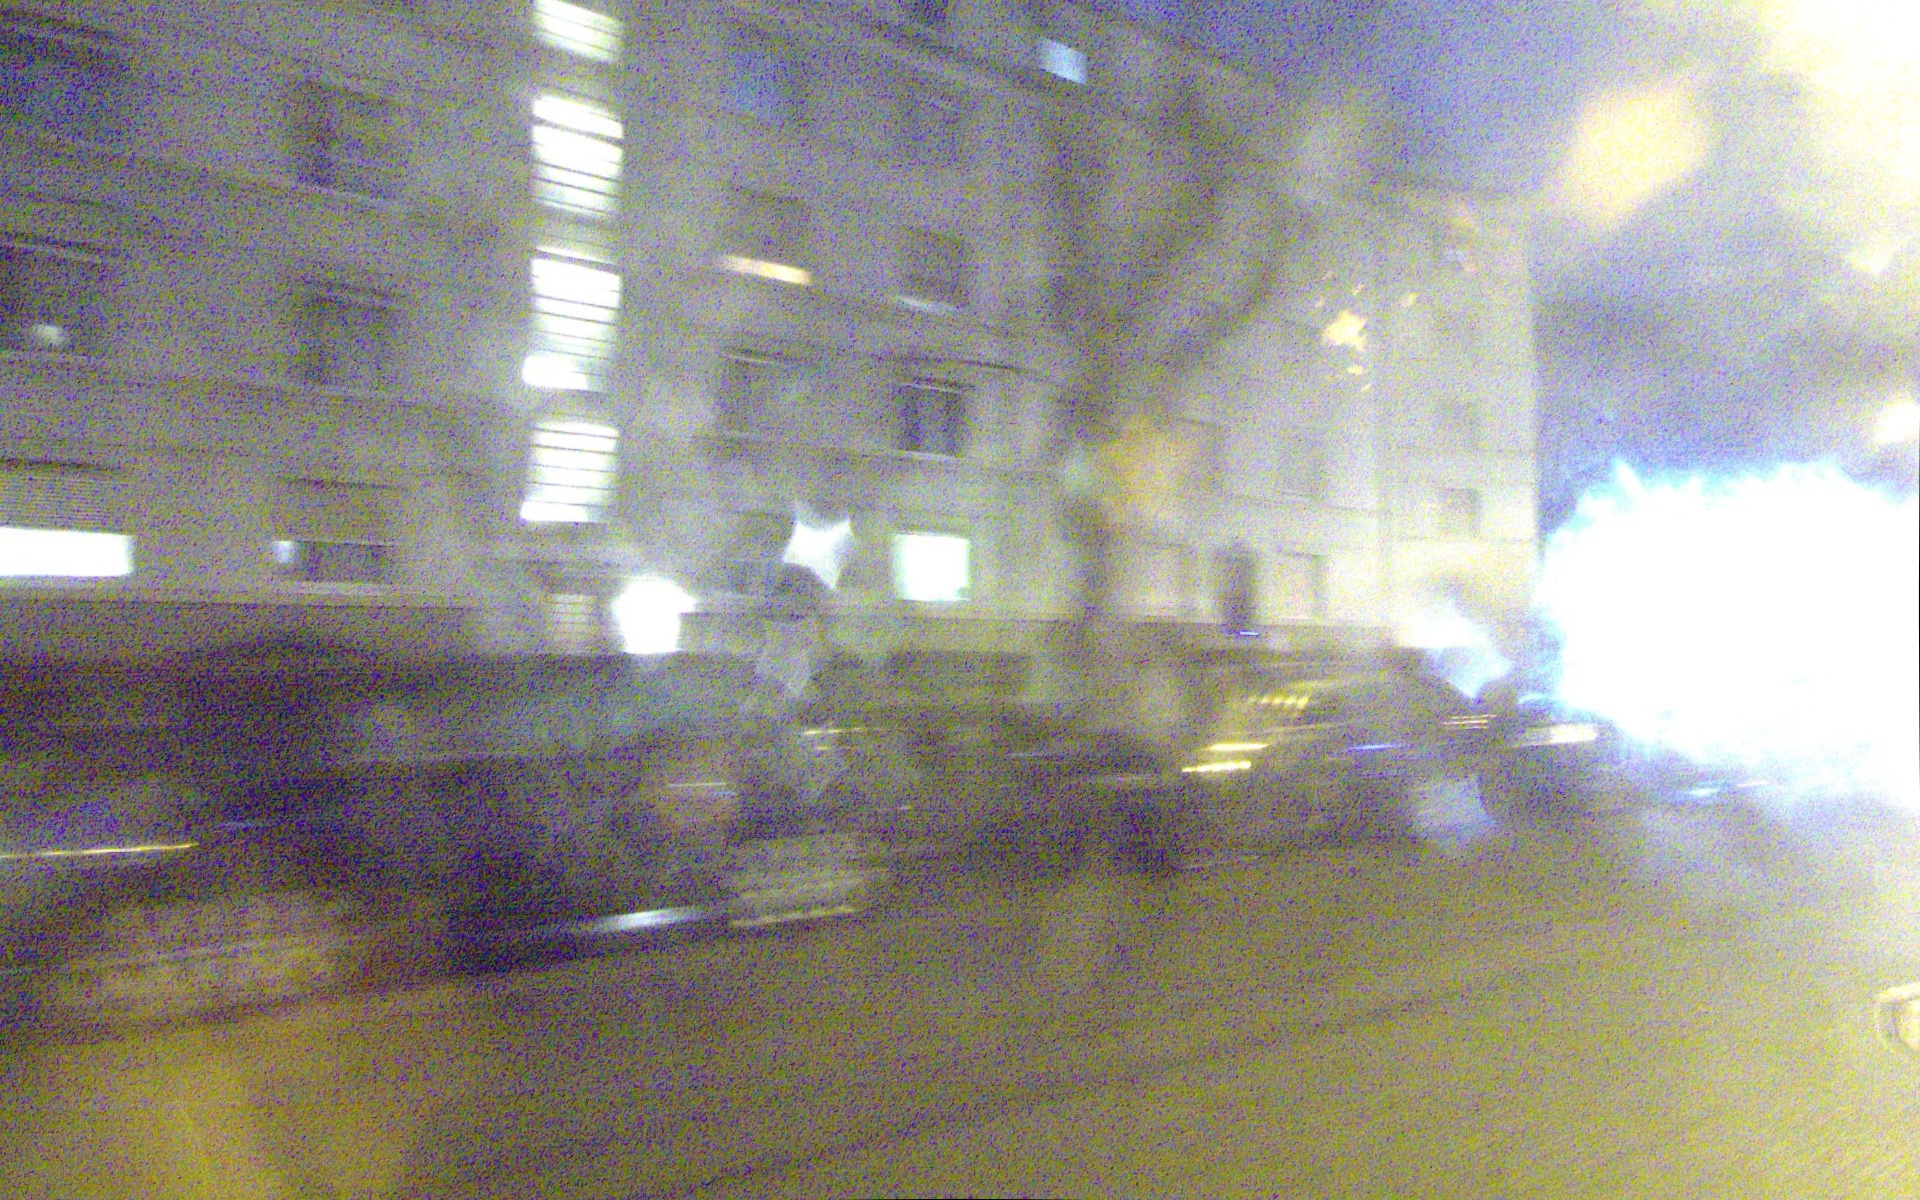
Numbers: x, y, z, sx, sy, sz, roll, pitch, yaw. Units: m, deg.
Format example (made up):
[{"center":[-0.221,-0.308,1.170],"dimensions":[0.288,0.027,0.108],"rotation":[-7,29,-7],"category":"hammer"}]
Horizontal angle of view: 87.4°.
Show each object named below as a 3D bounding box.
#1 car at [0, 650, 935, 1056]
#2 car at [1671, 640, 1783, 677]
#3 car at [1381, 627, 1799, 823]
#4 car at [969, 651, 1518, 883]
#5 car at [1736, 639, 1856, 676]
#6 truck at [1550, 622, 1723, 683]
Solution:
[{"center":[-2.275,0.997,5.072],"dimensions":[4.019,1.390,1.592],"rotation":[1,-6,-30],"category":"car"},{"center":[33.267,2.520,43.595],"dimensions":[3.849,1.540,1.716],"rotation":[0,-2,-11],"category":"car"},{"center":[6.305,1.131,9.944],"dimensions":[4.327,1.583,1.592],"rotation":[1,-6,-30],"category":"car"},{"center":[2.329,1.148,7.937],"dimensions":[4.302,1.390,1.592],"rotation":[1,-6,-30],"category":"car"},{"center":[34.276,2.340,41.210],"dimensions":[3.849,1.450,1.716],"rotation":[0,-2,-11],"category":"car"},{"center":[24.218,1.866,36.040],"dimensions":[5.170,2.040,2.126],"rotation":[0,-2,-12],"category":"truck"}]
